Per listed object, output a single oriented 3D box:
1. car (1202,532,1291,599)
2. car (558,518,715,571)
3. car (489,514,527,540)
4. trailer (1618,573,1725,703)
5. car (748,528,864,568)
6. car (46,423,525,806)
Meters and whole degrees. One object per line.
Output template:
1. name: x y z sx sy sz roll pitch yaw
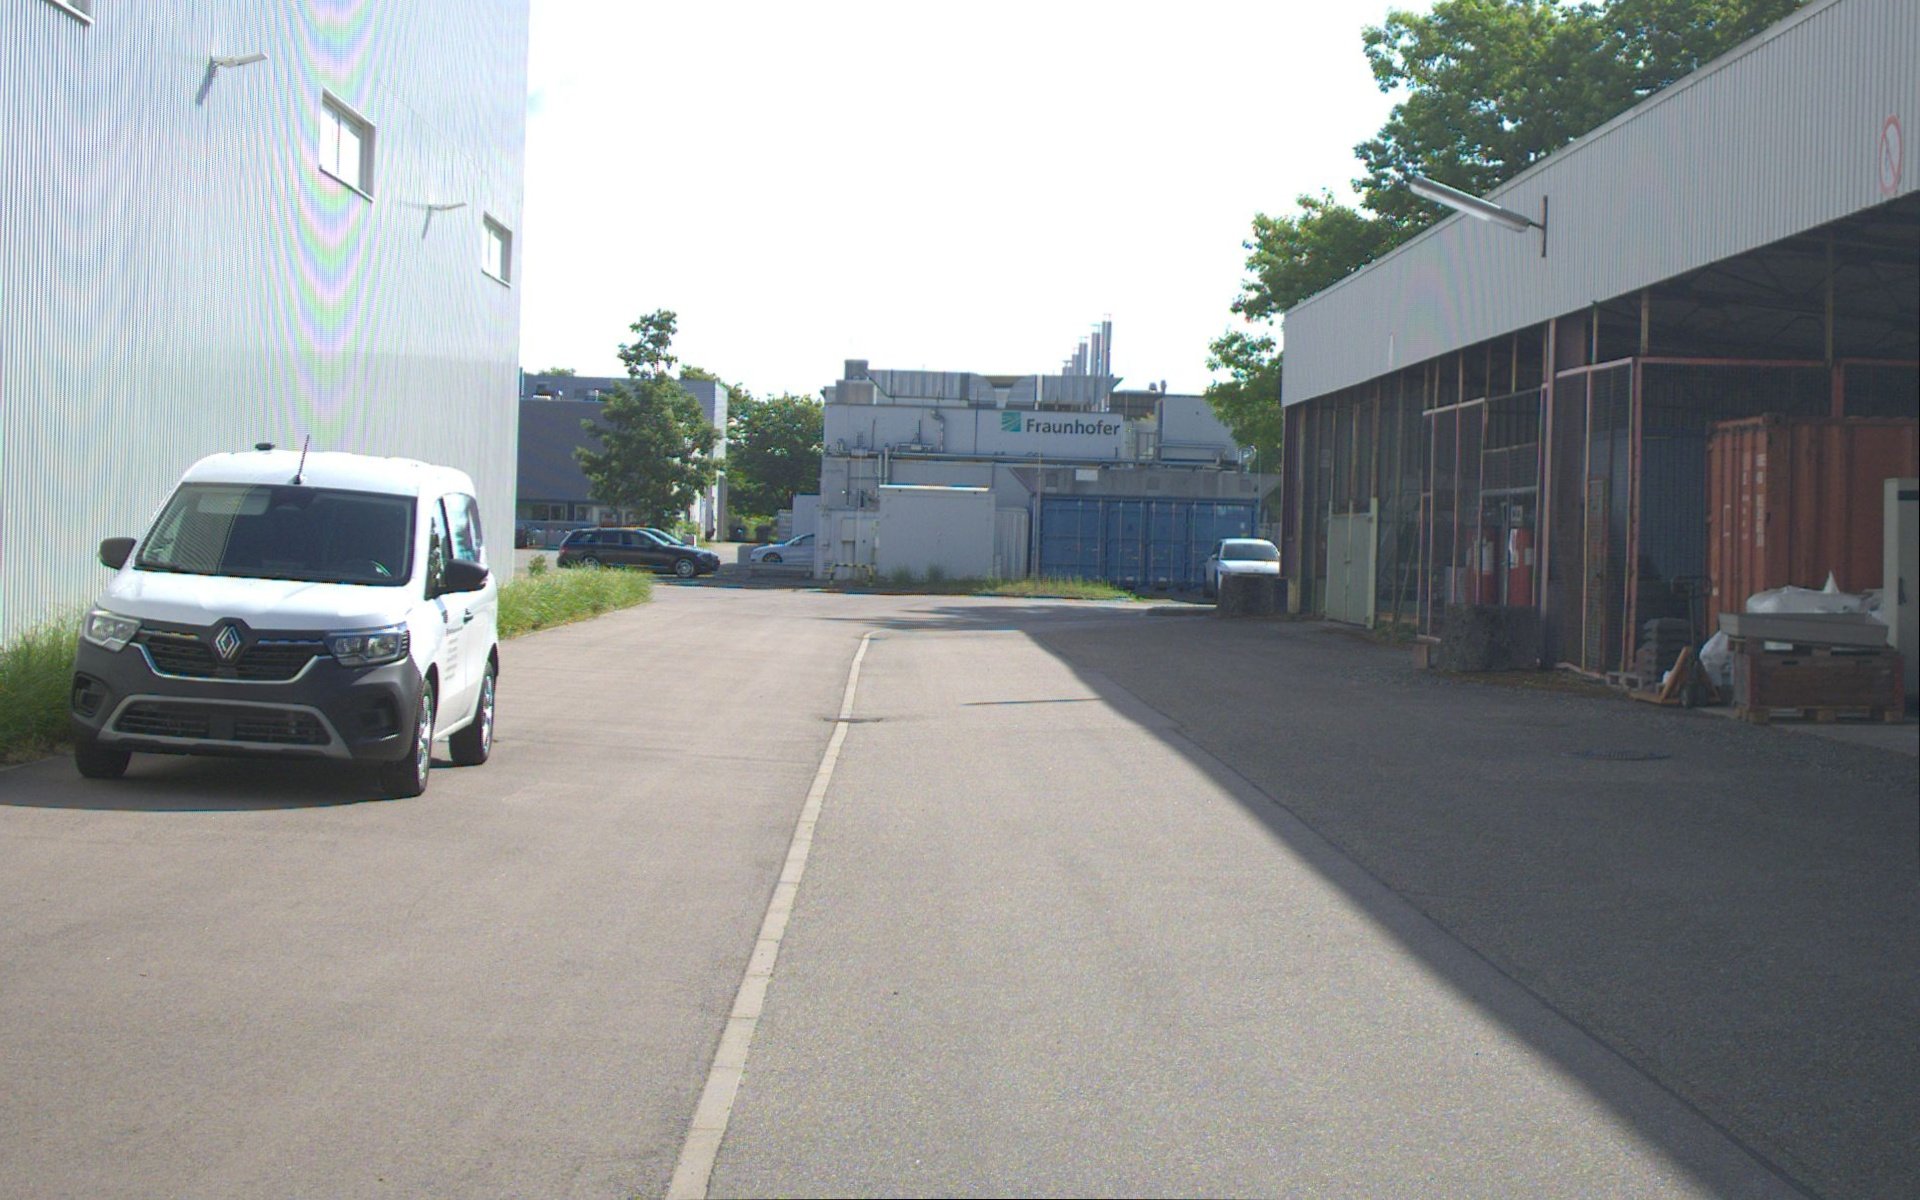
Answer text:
1. car: 7.381 -0.913 88.969 1.979 1.597 4.377 0 2 1
2. car: -9.505 -1.631 101.265 4.447 1.525 1.824 1 1 -1
3. car: -25.816 -4.161 196.439 1.858 1.489 4.030 0 1 -3
4. trailer: 6.279 0.323 30.394 0.551 1.114 1.547 0 1 -3
5. car: -5.764 -1.947 129.196 4.302 1.452 1.824 1 1 -1
6. car: -3.642 0.044 19.370 1.783 1.809 4.602 3 1 -1
